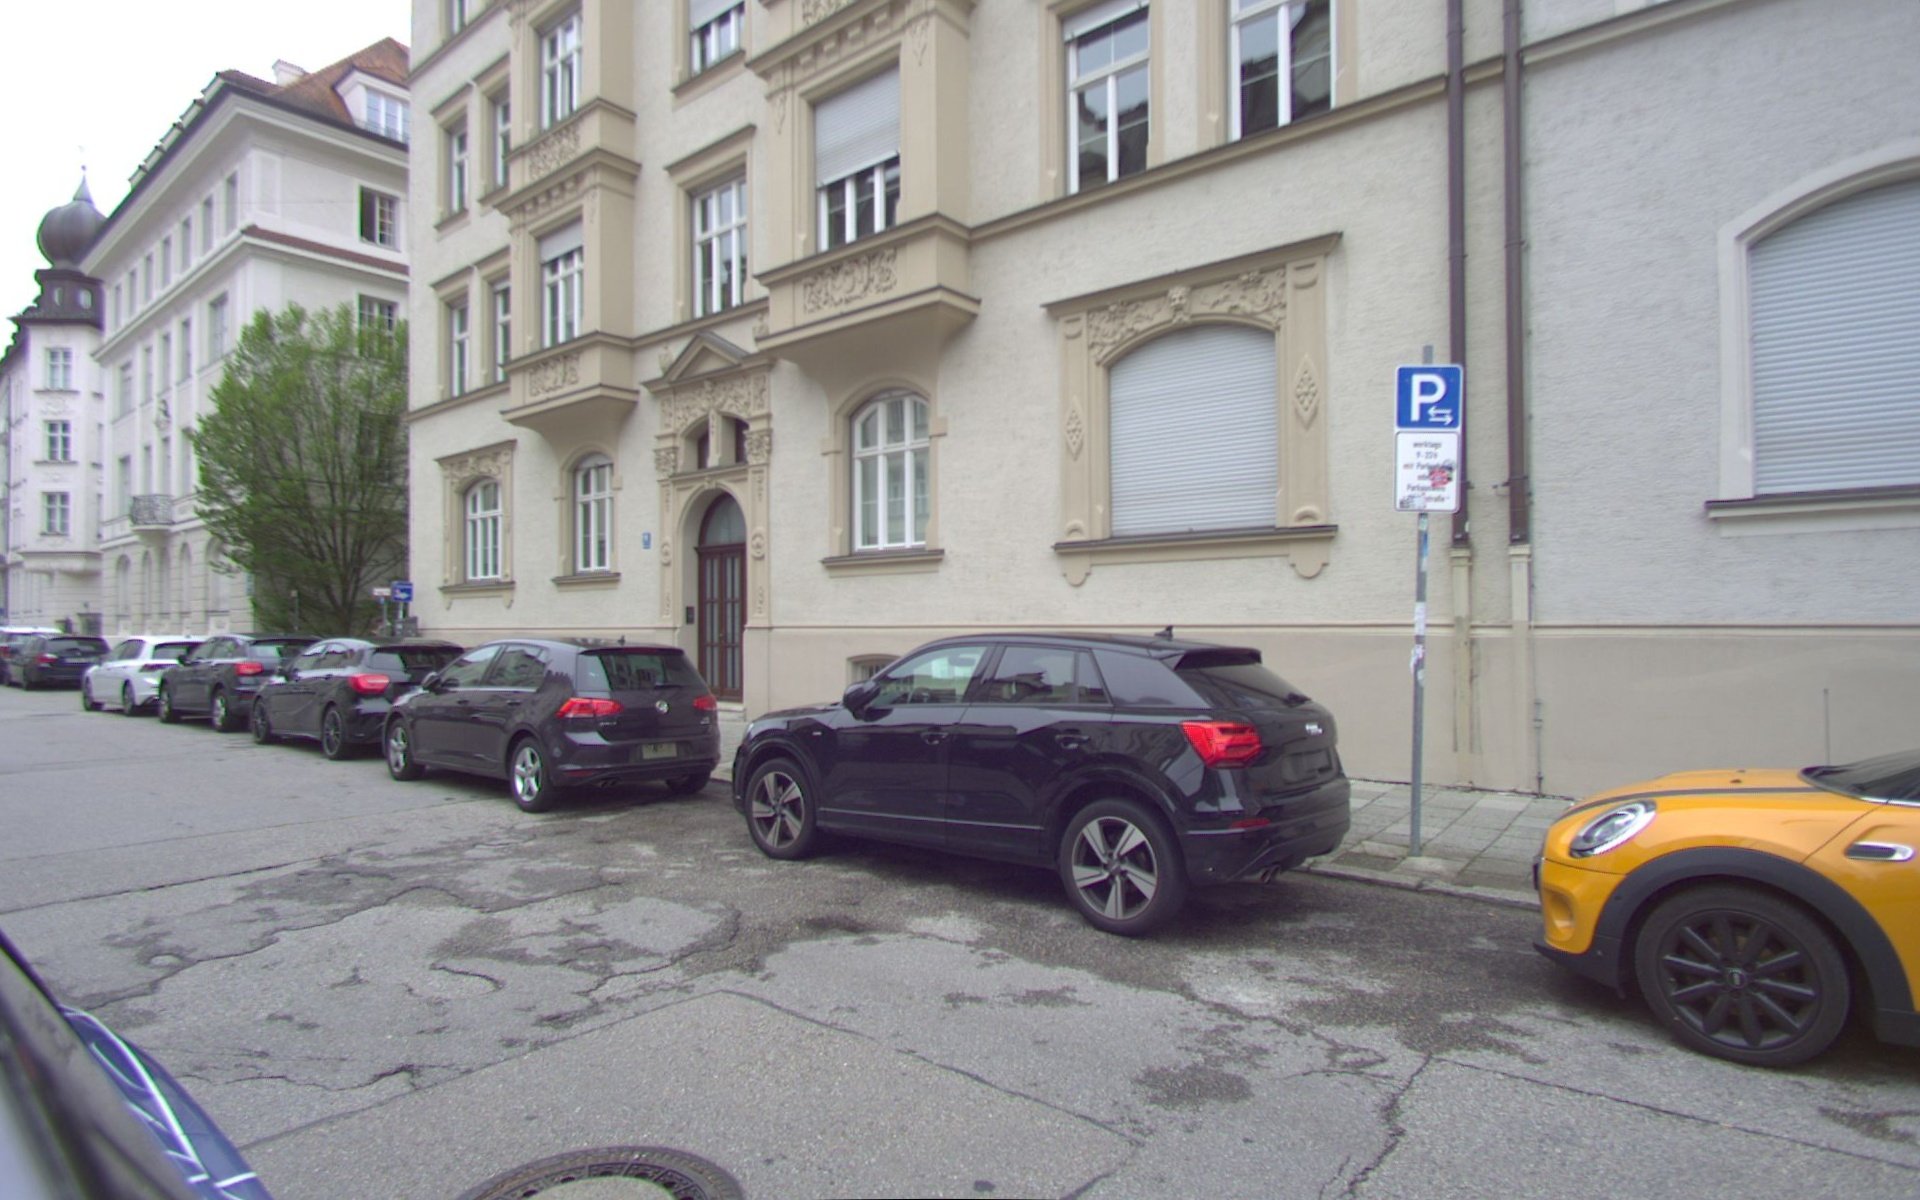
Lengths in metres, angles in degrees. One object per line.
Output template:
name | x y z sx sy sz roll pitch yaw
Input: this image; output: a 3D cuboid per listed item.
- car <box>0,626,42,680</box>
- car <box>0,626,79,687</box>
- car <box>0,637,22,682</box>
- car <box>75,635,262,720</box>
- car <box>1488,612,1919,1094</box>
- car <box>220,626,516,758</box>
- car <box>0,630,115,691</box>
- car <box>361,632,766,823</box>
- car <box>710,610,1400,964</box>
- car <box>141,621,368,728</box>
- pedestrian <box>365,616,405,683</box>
car | -31.172 1.700 32.530 4.567 1.631 1.895 -2 -2 40
car | -26.991 1.587 29.097 4.240 1.631 1.818 -2 -2 39
car | -35.081 2.069 35.963 4.249 1.553 1.766 -1 -4 36
car | -15.142 1.410 19.288 4.238 1.445 1.819 -2 -4 38
car | 4.128 0.821 3.332 3.969 1.511 1.623 -2 -5 41
car | -7.873 1.114 13.294 4.547 1.445 1.816 -2 -4 38
car | -23.387 1.520 26.013 4.362 1.423 1.769 -2 -2 39
car | -3.968 1.088 9.799 4.241 1.447 1.817 -2 -5 40
car | 0.387 0.886 6.322 4.015 1.511 1.735 -2 -4 40
car | -11.606 1.188 16.556 4.378 1.530 1.753 -2 -5 38
pedestrian | -14.232 1.219 25.050 0.630 1.638 0.667 -2 -2 37
